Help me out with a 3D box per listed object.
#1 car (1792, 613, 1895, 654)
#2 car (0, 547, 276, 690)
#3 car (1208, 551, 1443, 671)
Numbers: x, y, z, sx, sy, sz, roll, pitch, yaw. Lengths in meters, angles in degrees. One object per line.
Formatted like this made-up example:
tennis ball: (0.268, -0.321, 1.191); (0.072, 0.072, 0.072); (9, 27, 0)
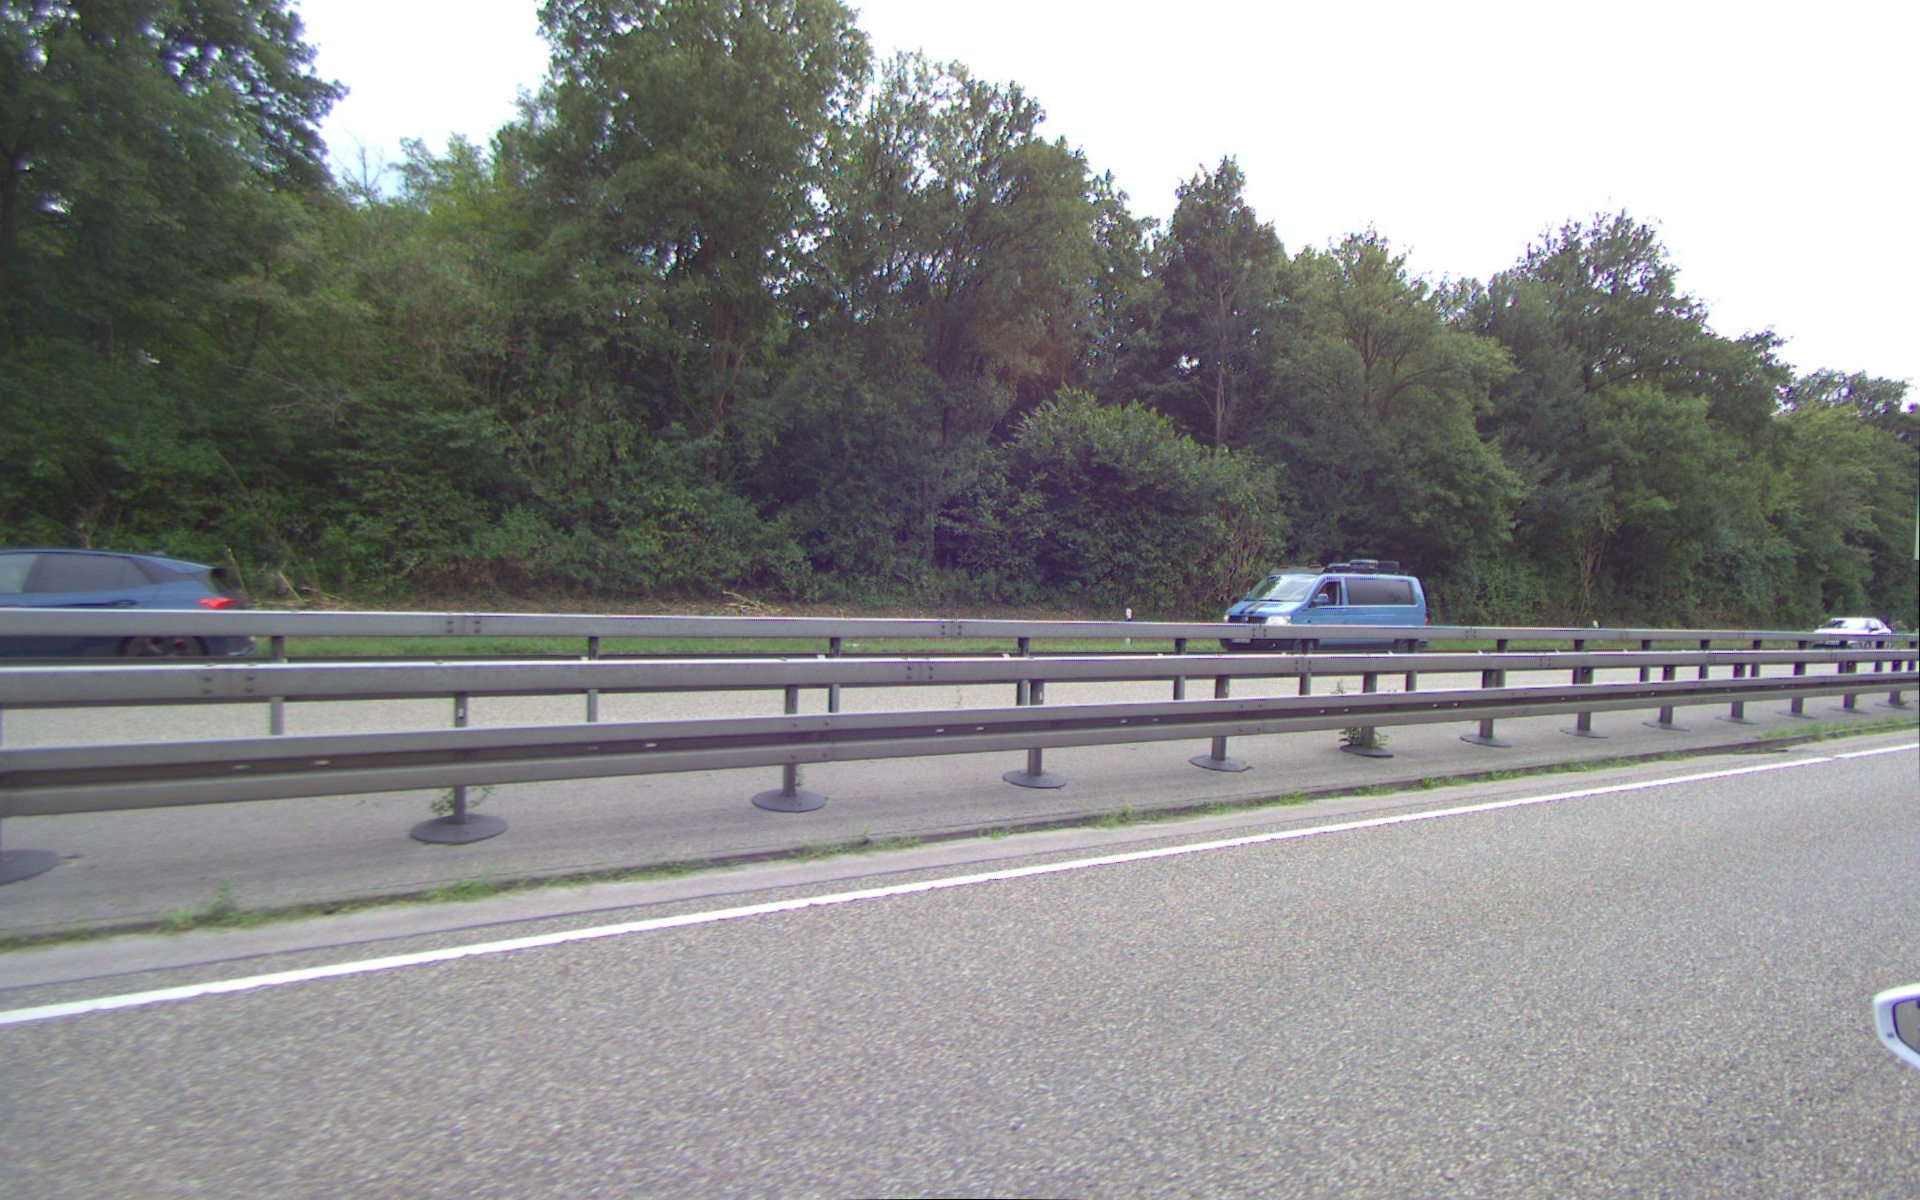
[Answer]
car: (34.403, 1.310, 39.086); (4.087, 1.501, 1.982); (2, -1, -33)
car: (-10.212, 0.193, 11.267); (4.042, 1.486, 1.686); (2, -1, -30)
car: (8.040, 0.277, 21.929); (5.243, 2.352, 1.926); (2, -1, -31)
